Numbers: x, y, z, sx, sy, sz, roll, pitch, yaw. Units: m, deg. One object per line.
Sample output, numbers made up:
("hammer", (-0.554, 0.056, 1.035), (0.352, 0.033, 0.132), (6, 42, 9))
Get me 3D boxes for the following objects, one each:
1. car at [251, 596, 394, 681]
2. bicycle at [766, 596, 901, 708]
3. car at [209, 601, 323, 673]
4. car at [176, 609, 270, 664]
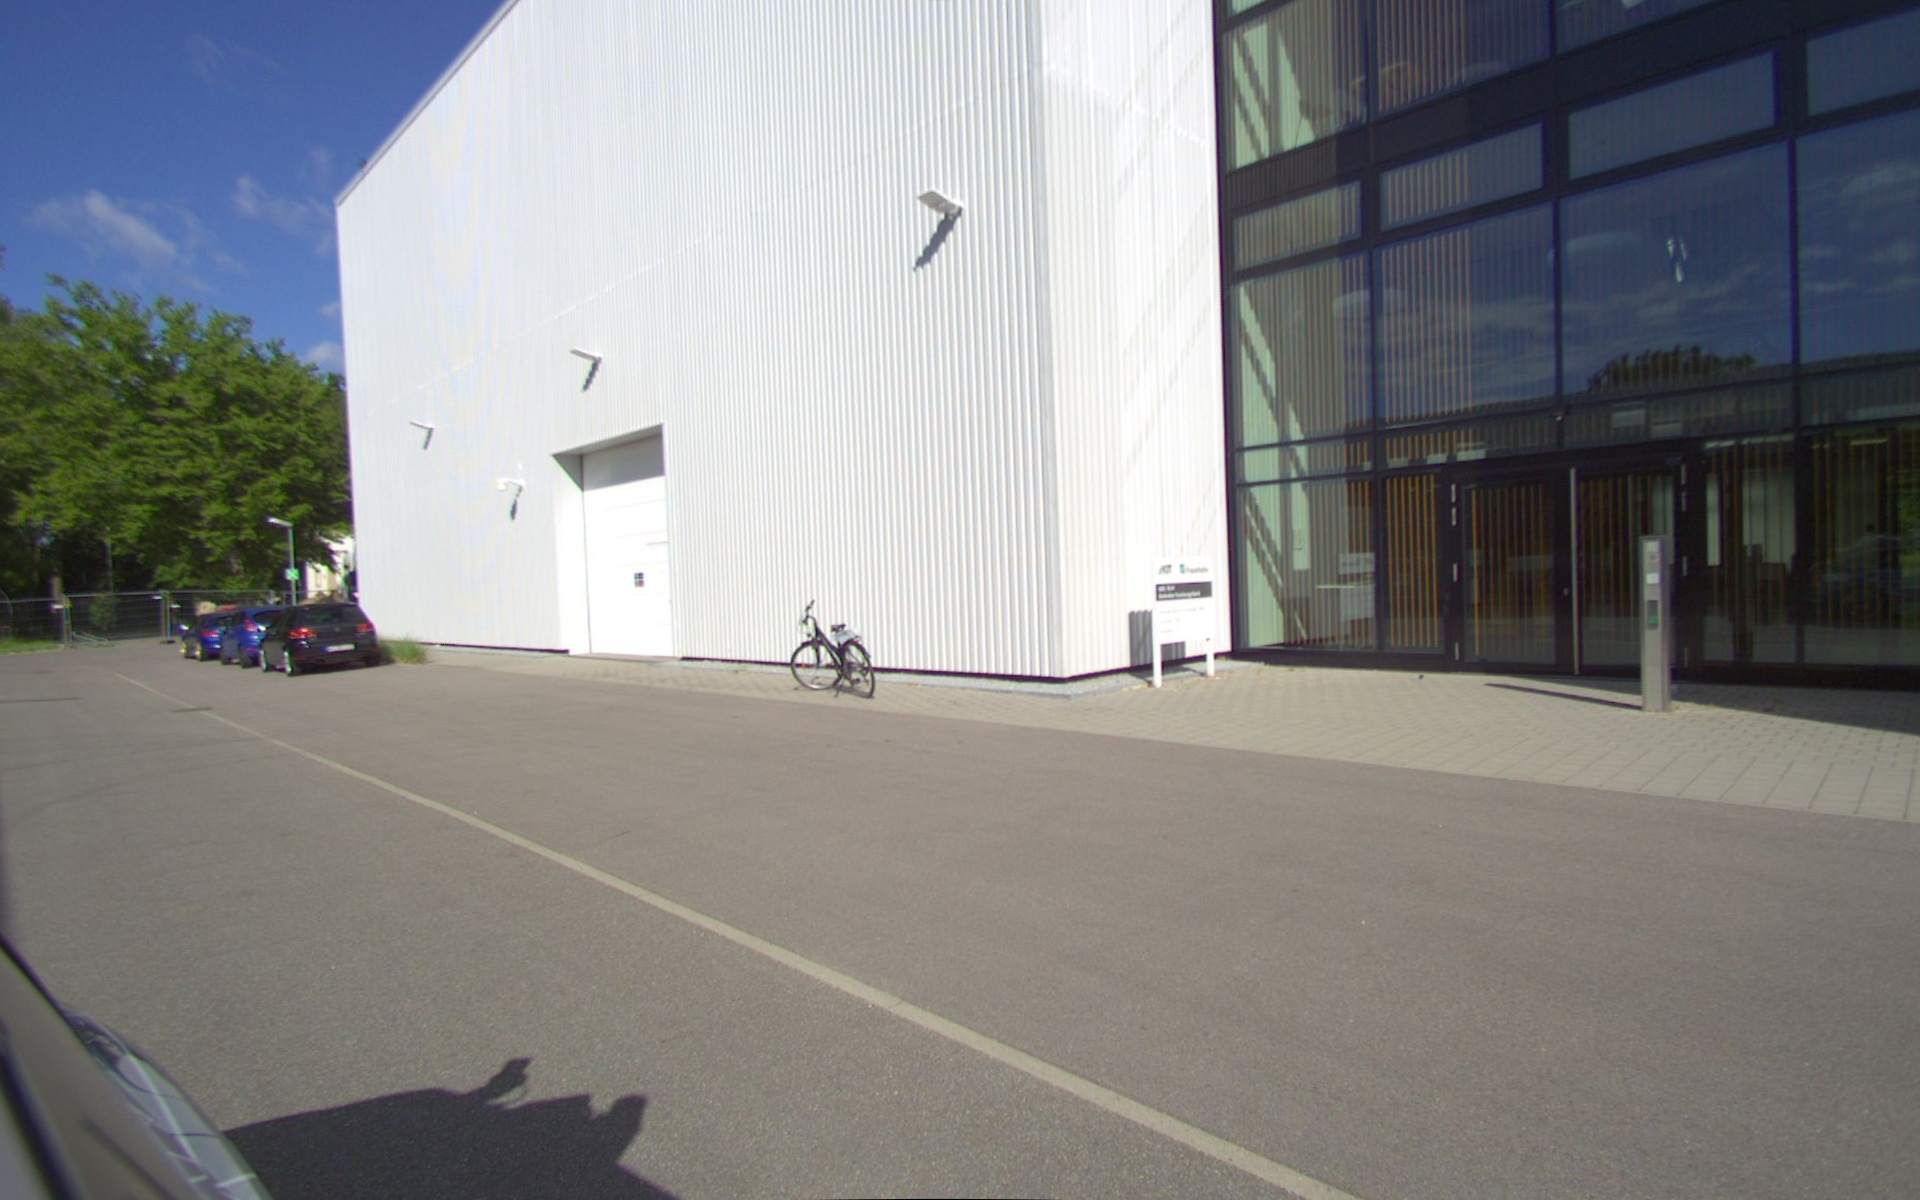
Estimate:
("car", (-14.139, 0.794, 22.362), (1.869, 1.533, 4.004), (-7, 4, -42))
("bicycle", (-1.586, 0.580, 12.382), (0.895, 1.151, 1.906), (-6, 4, -29))
("car", (-17.884, 0.904, 26.019), (1.765, 1.533, 4.004), (-7, 4, -42))
("car", (-21.813, 1.034, 29.901), (1.764, 1.451, 4.004), (-2, 0, -43))
